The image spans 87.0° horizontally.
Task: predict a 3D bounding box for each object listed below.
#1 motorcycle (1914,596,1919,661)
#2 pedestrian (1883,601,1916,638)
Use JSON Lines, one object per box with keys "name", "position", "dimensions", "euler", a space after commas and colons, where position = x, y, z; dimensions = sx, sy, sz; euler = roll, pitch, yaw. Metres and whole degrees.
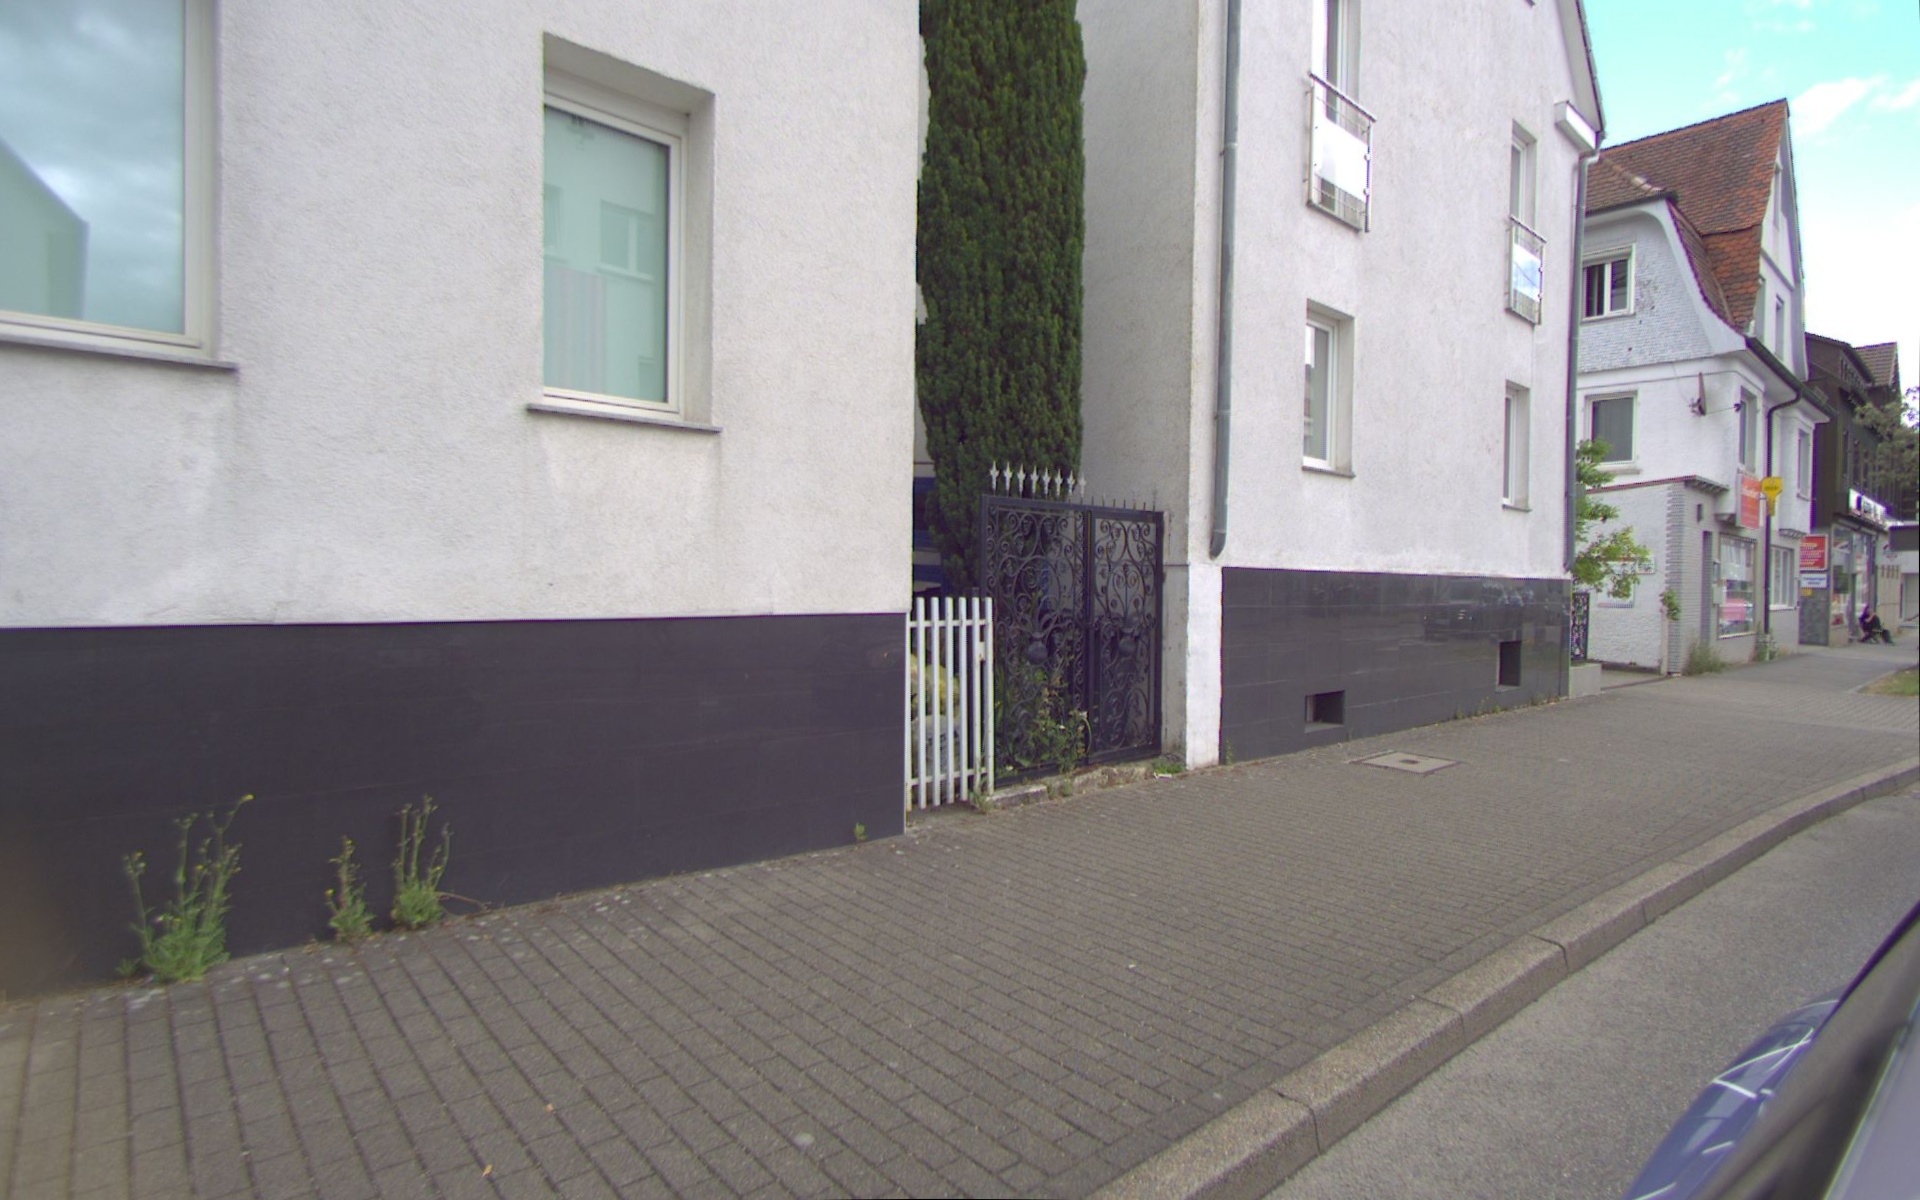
{"name": "motorcycle", "position": [20.825, 0.617, 20.743], "dimensions": [0.763, 1.399, 2.236], "euler": [0, 0, 11]}
{"name": "pedestrian", "position": [31.798, 0.648, 34.252], "dimensions": [0.633, 1.226, 0.741], "euler": [0, 2, -42]}
